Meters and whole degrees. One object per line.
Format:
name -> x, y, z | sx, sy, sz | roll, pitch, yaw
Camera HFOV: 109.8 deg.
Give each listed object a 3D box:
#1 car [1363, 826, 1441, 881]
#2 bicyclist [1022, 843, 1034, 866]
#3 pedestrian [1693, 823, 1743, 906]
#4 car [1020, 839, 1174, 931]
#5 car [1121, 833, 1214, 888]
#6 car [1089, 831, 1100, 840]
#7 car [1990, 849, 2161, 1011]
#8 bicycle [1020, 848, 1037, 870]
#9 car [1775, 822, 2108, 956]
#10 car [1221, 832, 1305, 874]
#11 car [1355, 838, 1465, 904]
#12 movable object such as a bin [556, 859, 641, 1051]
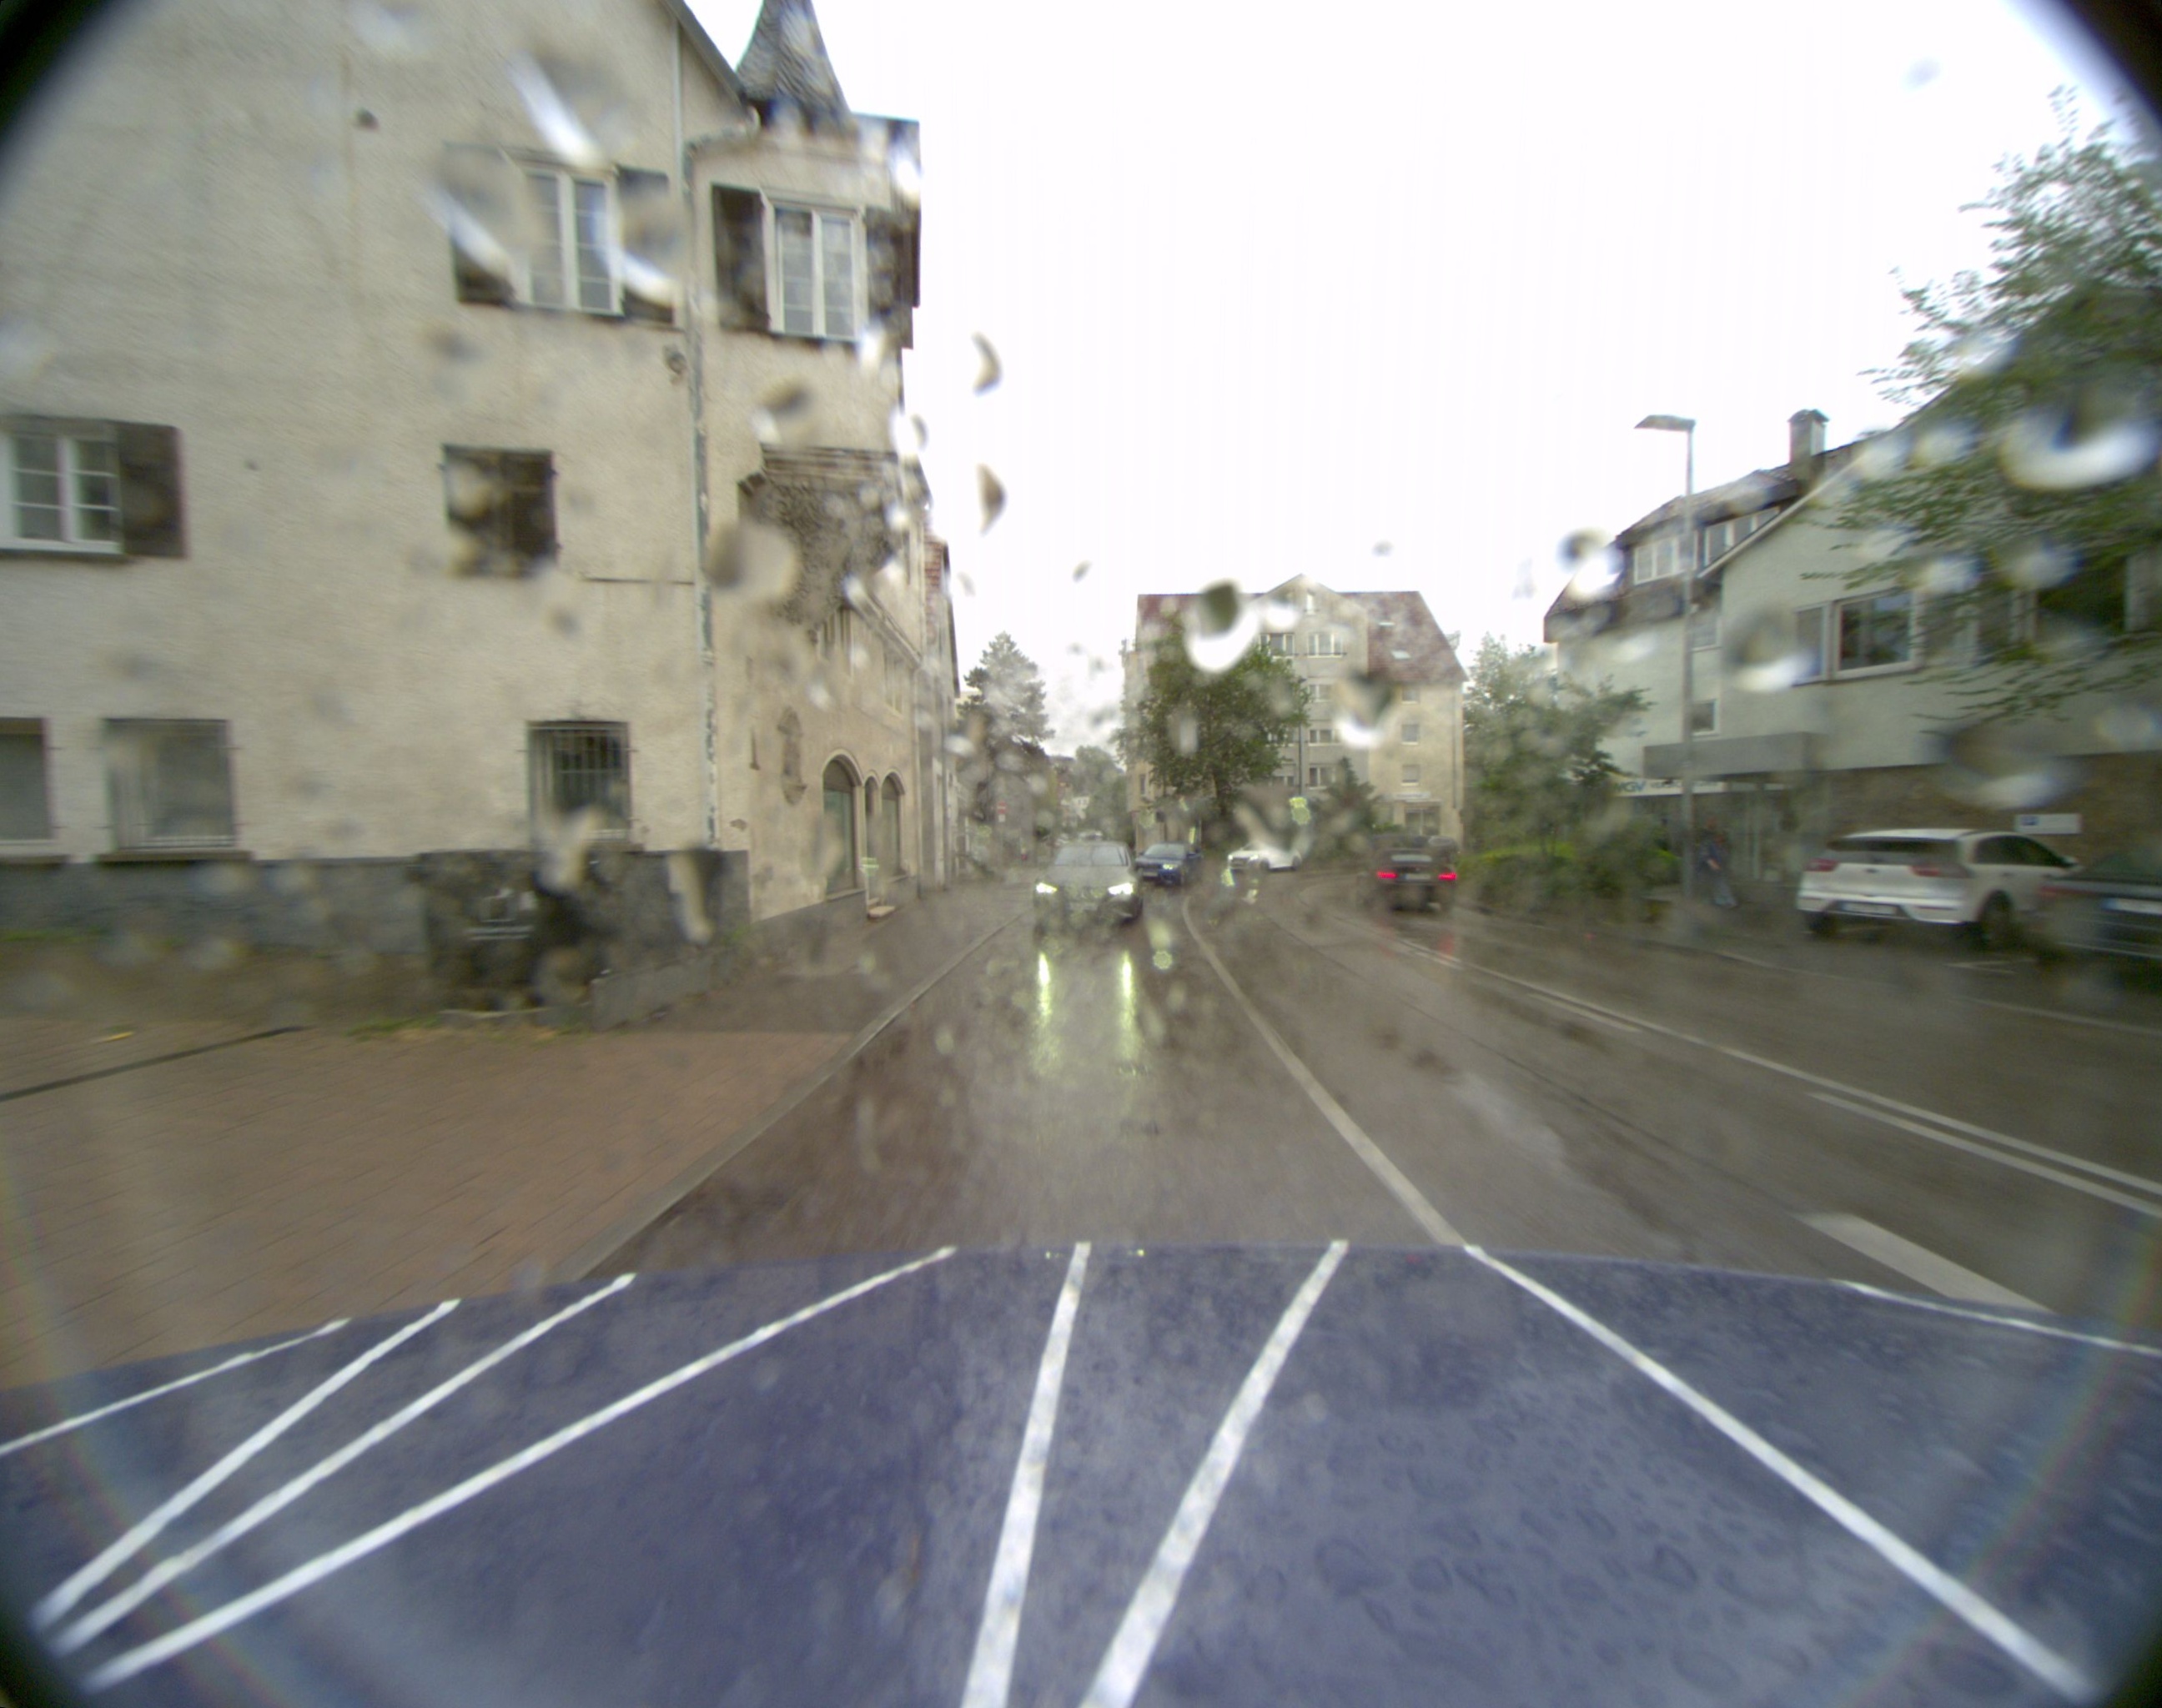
car -> 11.843, -0.082, 27.860 | 1.994, 1.871, 4.385 | 0, 2, 31
bicyclist -> -3.463, 0.017, 49.756 | 0.685, 1.509, 1.029 | -1, 1, -10
pedestrian -> 12.338, 0.209, 14.715 | 0.657, 1.566, 0.544 | 1, 0, -29
car -> 0.502, 0.481, 14.975 | 1.996, 1.485, 4.318 | 0, 2, 16
car -> 2.997, 0.148, 25.419 | 1.770, 1.524, 4.383 | 0, 4, 25
car -> 2.667, -3.522, 147.364 | 1.998, 1.564, 4.001 | 0, 0, 5
car -> 11.631, 0.725, 7.645 | 4.004, 1.445, 1.896 | 1, 1, -20
bicycle -> -3.444, 0.316, 49.767 | 0.764, 1.030, 2.076 | 4, 8, -11
car -> 12.145, 0.375, 10.775 | 3.649, 1.620, 1.996 | -1, 2, -22
car -> 8.398, -0.104, 34.915 | 4.006, 1.558, 1.808 | -5, 8, -43
car -> 7.736, 0.364, 18.257 | 1.863, 1.379, 4.268 | 1, 0, 16
movable object such as a bin -> -3.892, 0.779, 6.167 | 0.413, 1.434, 0.642 | -2, 4, -22
